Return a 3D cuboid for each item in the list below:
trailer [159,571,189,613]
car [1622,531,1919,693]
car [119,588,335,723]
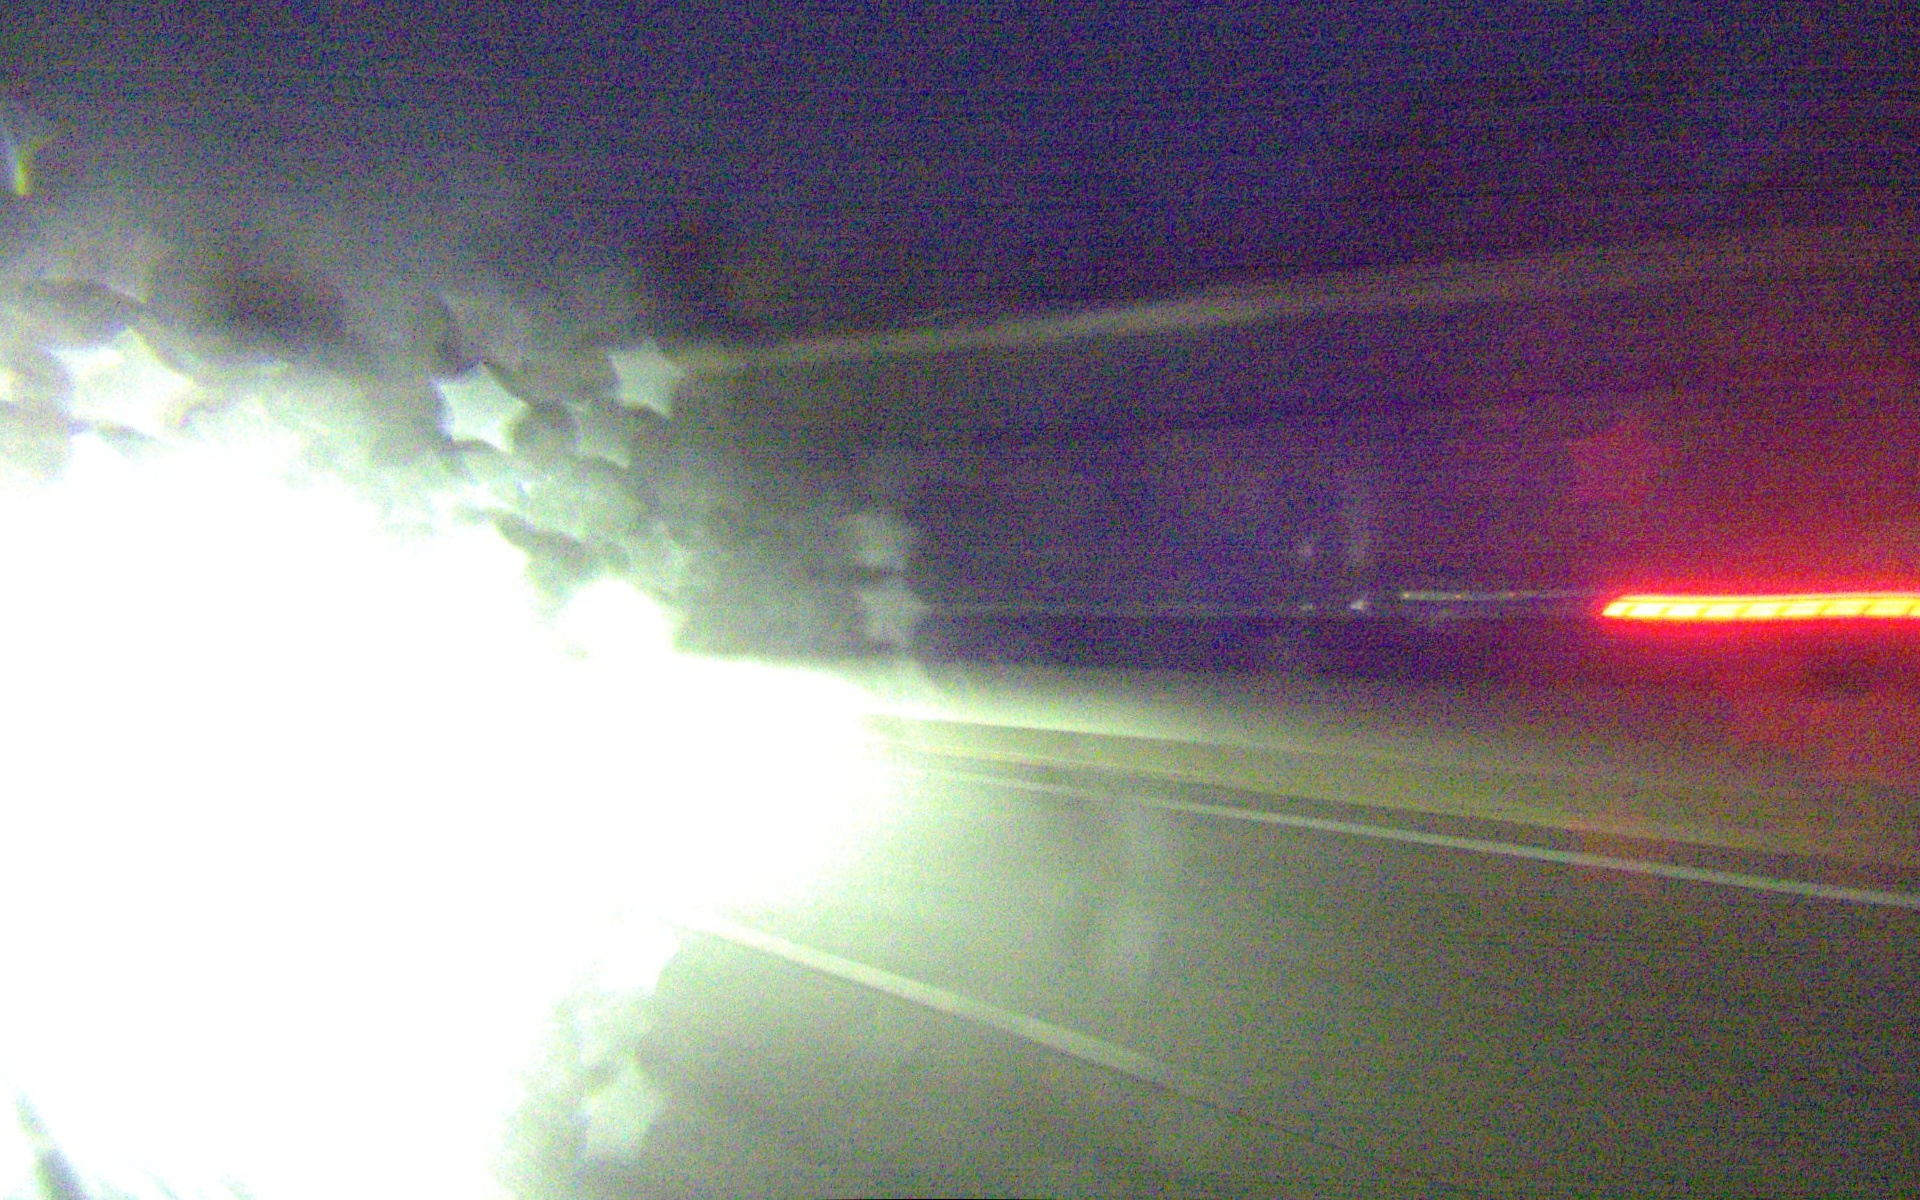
[{"bbox_3d":[-115.715,-1.224,148.904,2.872,5.939,14.195,-1,1,-40],"label":"trailer"},{"bbox_3d":[9.193,0.104,10.233,3.997,1.504,1.724,-1,0,40],"label":"car"},{"bbox_3d":[-12.428,0.768,16.978,2.112,1.898,5.559,-1,1,-45],"label":"car"}]
